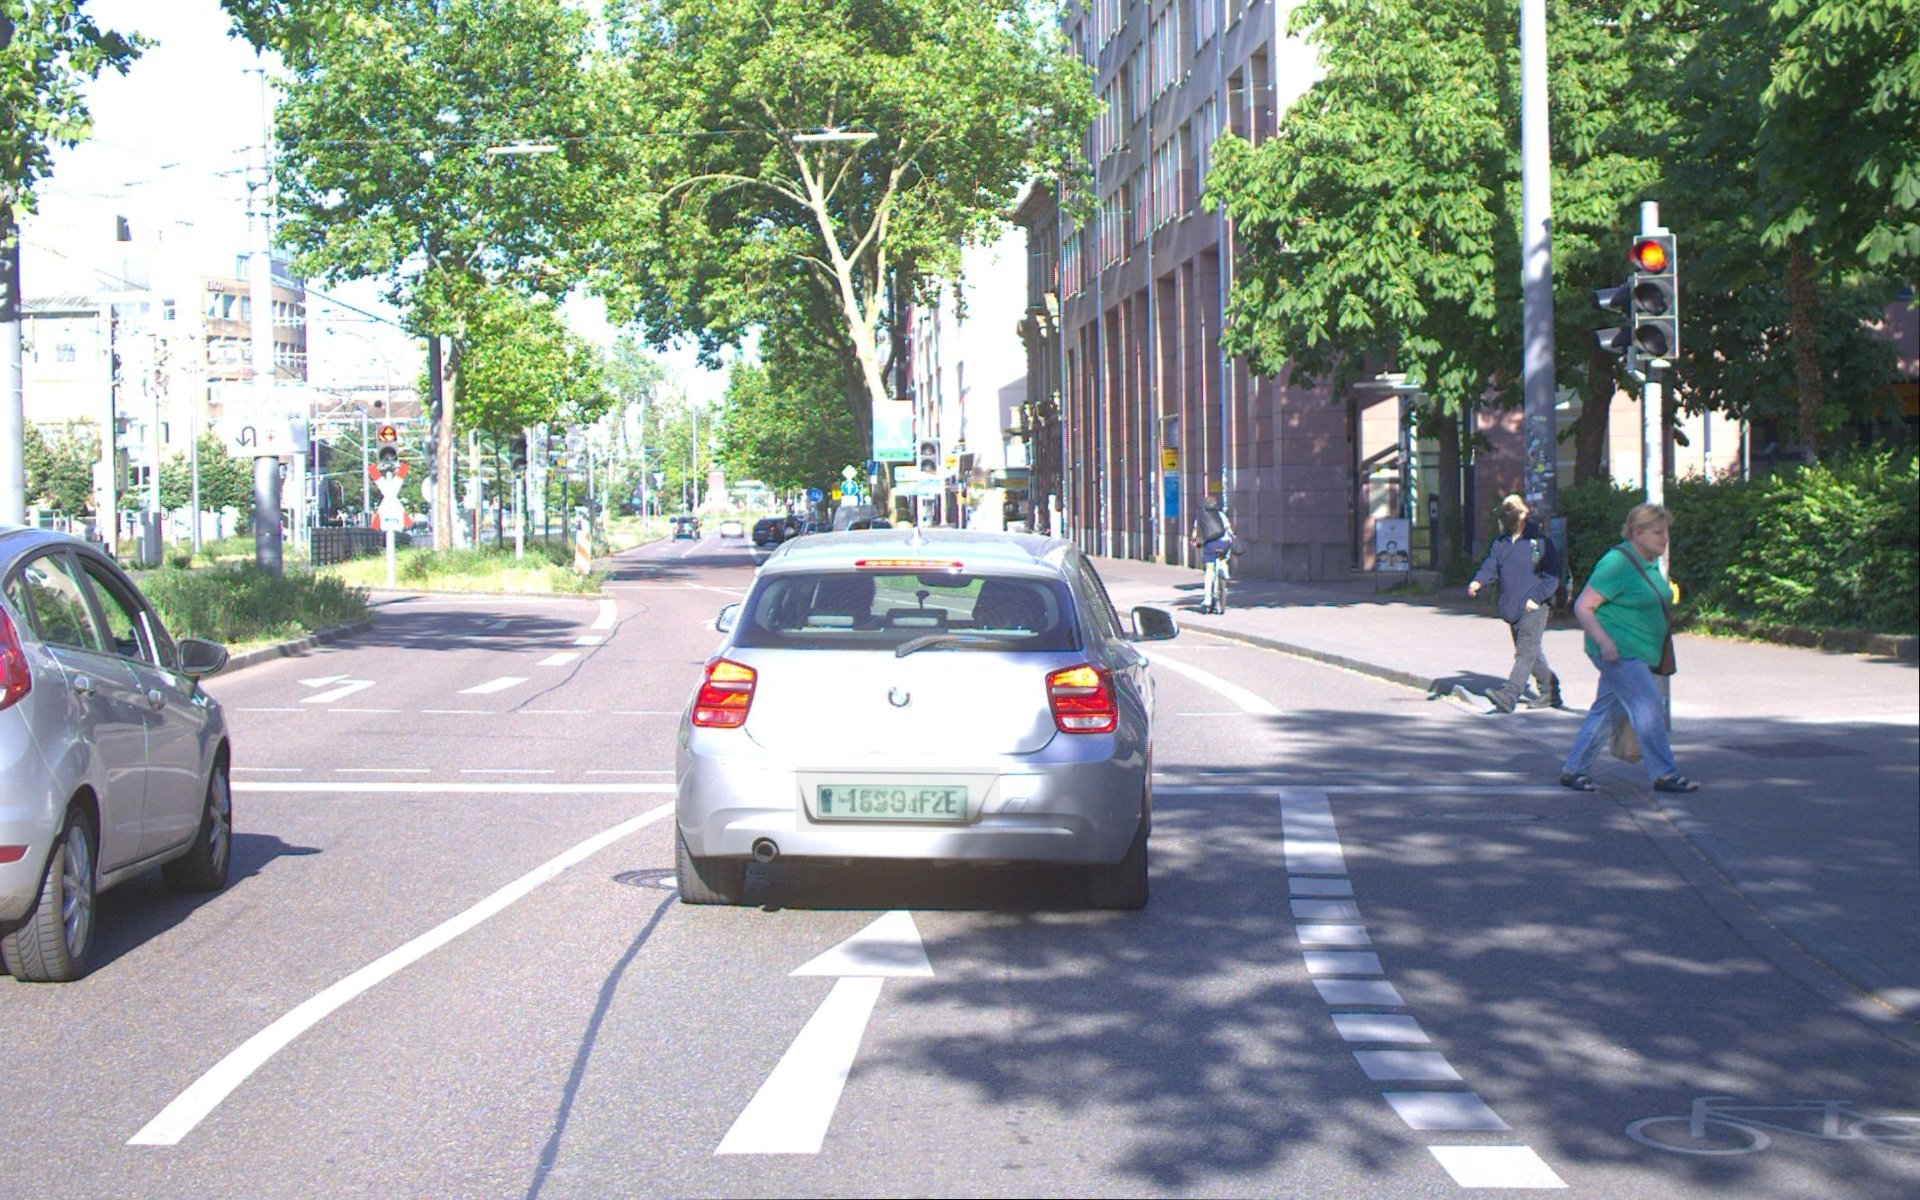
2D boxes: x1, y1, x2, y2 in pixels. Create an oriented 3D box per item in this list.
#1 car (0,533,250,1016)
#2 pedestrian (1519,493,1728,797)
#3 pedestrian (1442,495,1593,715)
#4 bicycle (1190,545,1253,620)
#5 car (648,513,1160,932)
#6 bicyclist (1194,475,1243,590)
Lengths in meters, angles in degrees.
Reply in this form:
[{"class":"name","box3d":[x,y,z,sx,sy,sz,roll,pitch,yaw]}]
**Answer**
[{"class":"car","box3d":[-3.618,0.474,11.849,1.660,1.404,3.632,0,1,-1]},{"class":"pedestrian","box3d":[3.536,0.229,18.311,0.831,1.570,0.737,-1,1,35]},{"class":"pedestrian","box3d":[4.192,0.027,25.867,0.940,1.623,0.629,0,1,-15]},{"class":"bicycle","box3d":[3.835,-0.266,50.309,0.832,1.038,1.874,-1,2,6]},{"class":"car","box3d":[-0.093,0.380,13.996,1.730,1.385,3.839,1,2,4]},{"class":"bicyclist","box3d":[3.788,-0.994,50.353,0.658,1.651,0.765,-1,1,6]}]
